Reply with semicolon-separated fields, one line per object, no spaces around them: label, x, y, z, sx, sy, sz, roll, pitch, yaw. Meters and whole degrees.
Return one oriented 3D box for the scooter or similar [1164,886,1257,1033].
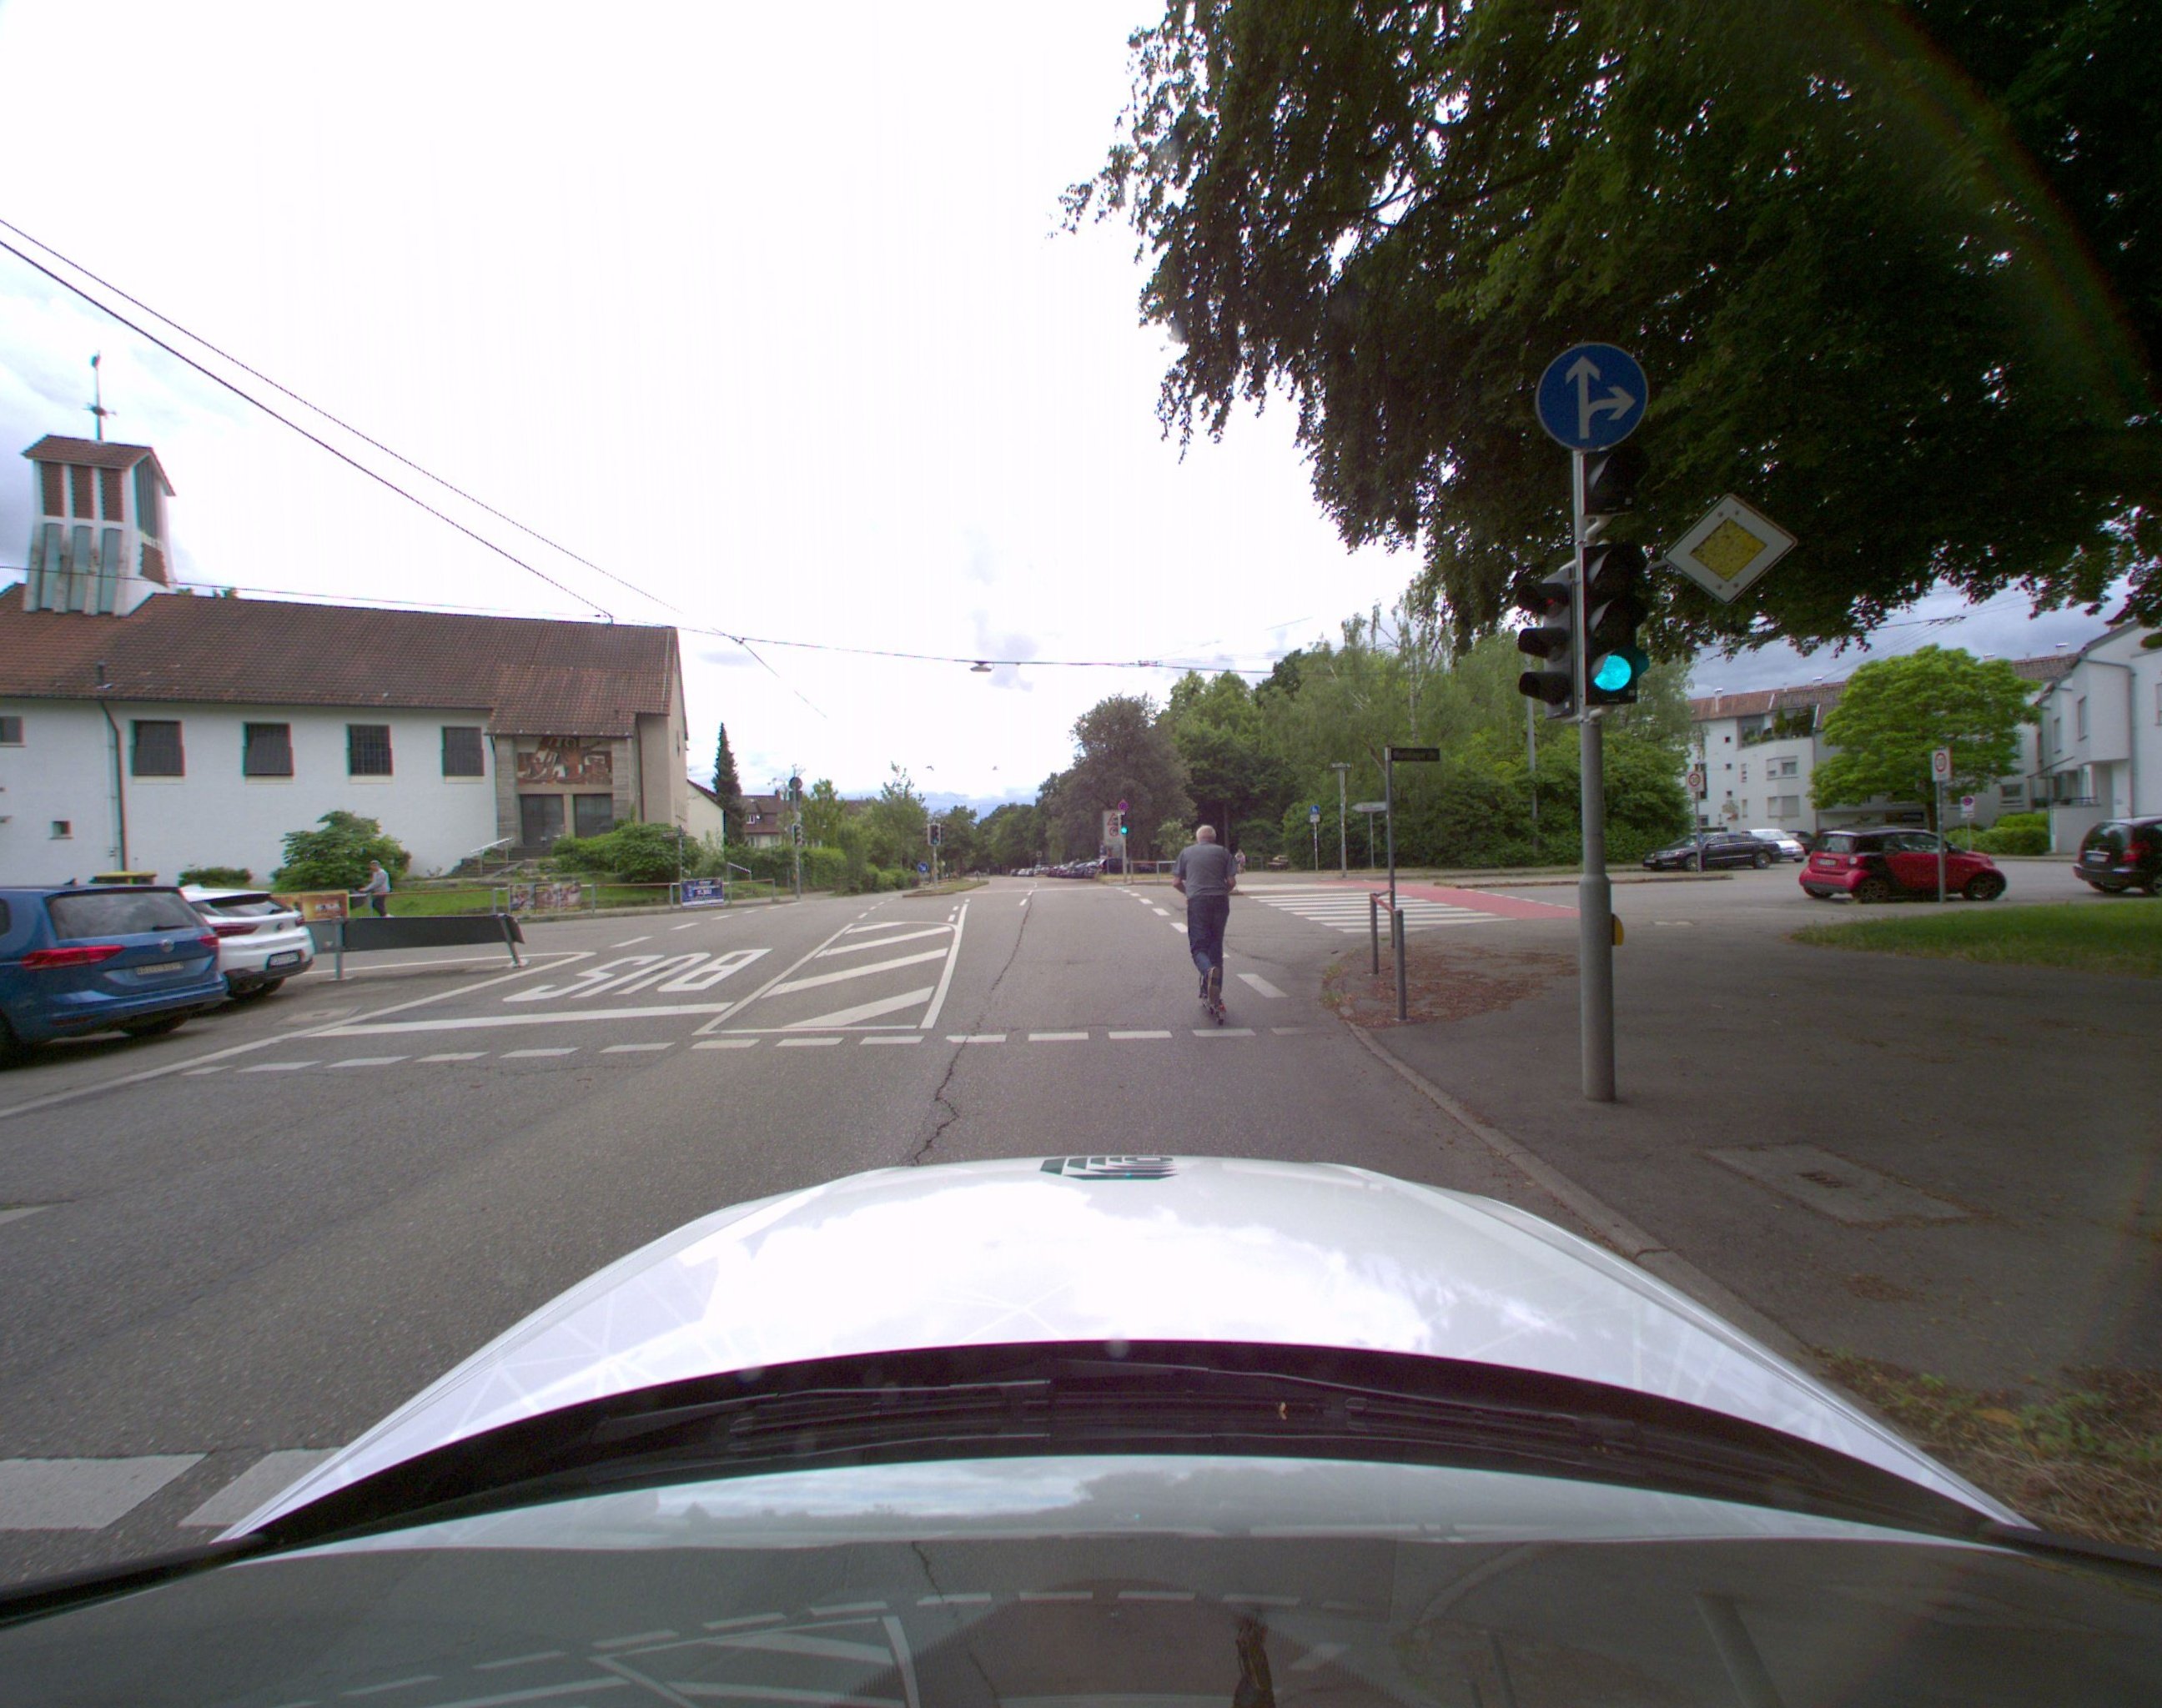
scooter or similar;1.161;0.913;7.553;0.678;1.139;1.461;-2;1;3

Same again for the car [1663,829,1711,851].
car;47.587;-1.082;64.059;1.912;1.545;4.085;-2;-1;21

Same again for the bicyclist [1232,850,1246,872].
bicyclist;8.843;0.385;45.701;0.516;1.187;0.967;-3;-2;-2

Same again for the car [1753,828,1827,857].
car;41.425;-0.660;47.702;1.912;1.545;4.085;-2;-1;21

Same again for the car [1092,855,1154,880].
car;2.706;0.858;52.688;3.715;1.476;1.571;-2;-1;-9

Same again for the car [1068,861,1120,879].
car;1.115;1.348;69.604;4.170;1.407;1.688;-2;-2;-18

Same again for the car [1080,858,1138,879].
car;2.159;1.089;62.960;4.227;1.464;1.626;-2;-1;-16

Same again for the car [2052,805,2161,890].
car;21.607;-0.148;15.380;3.777;1.591;1.830;-1;0;29

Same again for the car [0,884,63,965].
car;-21.925;1.420;15.002;3.706;1.489;1.753;-3;1;-44

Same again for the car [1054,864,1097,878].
car;-0.547;1.713;82.225;4.045;1.327;1.551;-2;-2;-16

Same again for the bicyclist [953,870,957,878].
bicyclist;-26.850;4.234;174.024;0.844;1.697;0.711;-2;-1;-9

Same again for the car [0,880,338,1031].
car;-11.890;1.182;9.784;3.899;1.472;1.836;-3;1;-15

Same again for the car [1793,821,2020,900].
car;17.096;0.129;17.013;2.894;1.506;1.700;-1;1;8

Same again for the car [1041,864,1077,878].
car;-2.678;2.094;100.628;4.096;1.515;1.717;-2;-2;-29

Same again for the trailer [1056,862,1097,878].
trailer;-0.464;1.564;79.921;3.698;1.535;1.636;-1;-1;-18

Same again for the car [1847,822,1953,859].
car;37.749;-0.588;37.696;1.912;1.545;4.085;-2;-1;21

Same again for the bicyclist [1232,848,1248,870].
bicyclist;8.512;0.249;43.578;0.638;1.162;0.803;-2;1;-3

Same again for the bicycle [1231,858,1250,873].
bicycle;8.534;0.609;43.609;0.638;0.758;1.679;-2;1;-2

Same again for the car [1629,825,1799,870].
car;23.336;-0.248;30.154;4.772;1.439;2.037;-2;0;-2

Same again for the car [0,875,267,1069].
car;-10.725;1.096;7.514;4.165;1.547;1.839;-2;1;-10

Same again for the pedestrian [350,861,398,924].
pedestrian;-19.050;1.020;21.951;0.680;1.653;0.836;-2;-2;37

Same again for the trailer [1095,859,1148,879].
trailer;2.857;1.051;58.184;3.409;1.267;1.607;-2;-2;-16

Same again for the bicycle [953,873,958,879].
bicycle;-26.822;4.722;173.915;0.844;1.266;2.645;-2;-1;-7

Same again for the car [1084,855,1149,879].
car;2.398;0.909;55.266;4.146;1.476;1.567;-1;-2;-17

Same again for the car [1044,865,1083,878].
car;-2.124;2.122;97.656;4.328;1.341;1.721;-1;-2;-21

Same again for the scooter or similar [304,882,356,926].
scooter or similar;-19.576;1.286;21.239;0.604;1.095;0.895;-2;-2;37

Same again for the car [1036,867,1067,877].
car;-4.192;2.548;115.718;3.980;1.405;1.744;-1;-2;-22

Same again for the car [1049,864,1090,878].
car;-1.326;1.924;92.451;4.360;1.445;1.622;-1;-1;-21

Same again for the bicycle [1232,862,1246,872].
bicycle;8.848;0.726;45.684;0.516;0.497;0.987;-3;-2;-2

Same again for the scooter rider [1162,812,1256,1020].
scooter rider;1.131;0.513;7.426;0.678;1.730;1.198;-2;1;3

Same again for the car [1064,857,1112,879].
car;0.624;1.253;72.427;3.994;1.725;1.671;-2;-2;-16

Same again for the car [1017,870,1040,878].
car;-9.827;3.694;153.019;3.910;1.310;1.726;-1;-2;-31

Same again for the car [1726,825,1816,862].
car;30.391;-0.442;36.007;1.787;1.487;3.688;-2;-1;19
